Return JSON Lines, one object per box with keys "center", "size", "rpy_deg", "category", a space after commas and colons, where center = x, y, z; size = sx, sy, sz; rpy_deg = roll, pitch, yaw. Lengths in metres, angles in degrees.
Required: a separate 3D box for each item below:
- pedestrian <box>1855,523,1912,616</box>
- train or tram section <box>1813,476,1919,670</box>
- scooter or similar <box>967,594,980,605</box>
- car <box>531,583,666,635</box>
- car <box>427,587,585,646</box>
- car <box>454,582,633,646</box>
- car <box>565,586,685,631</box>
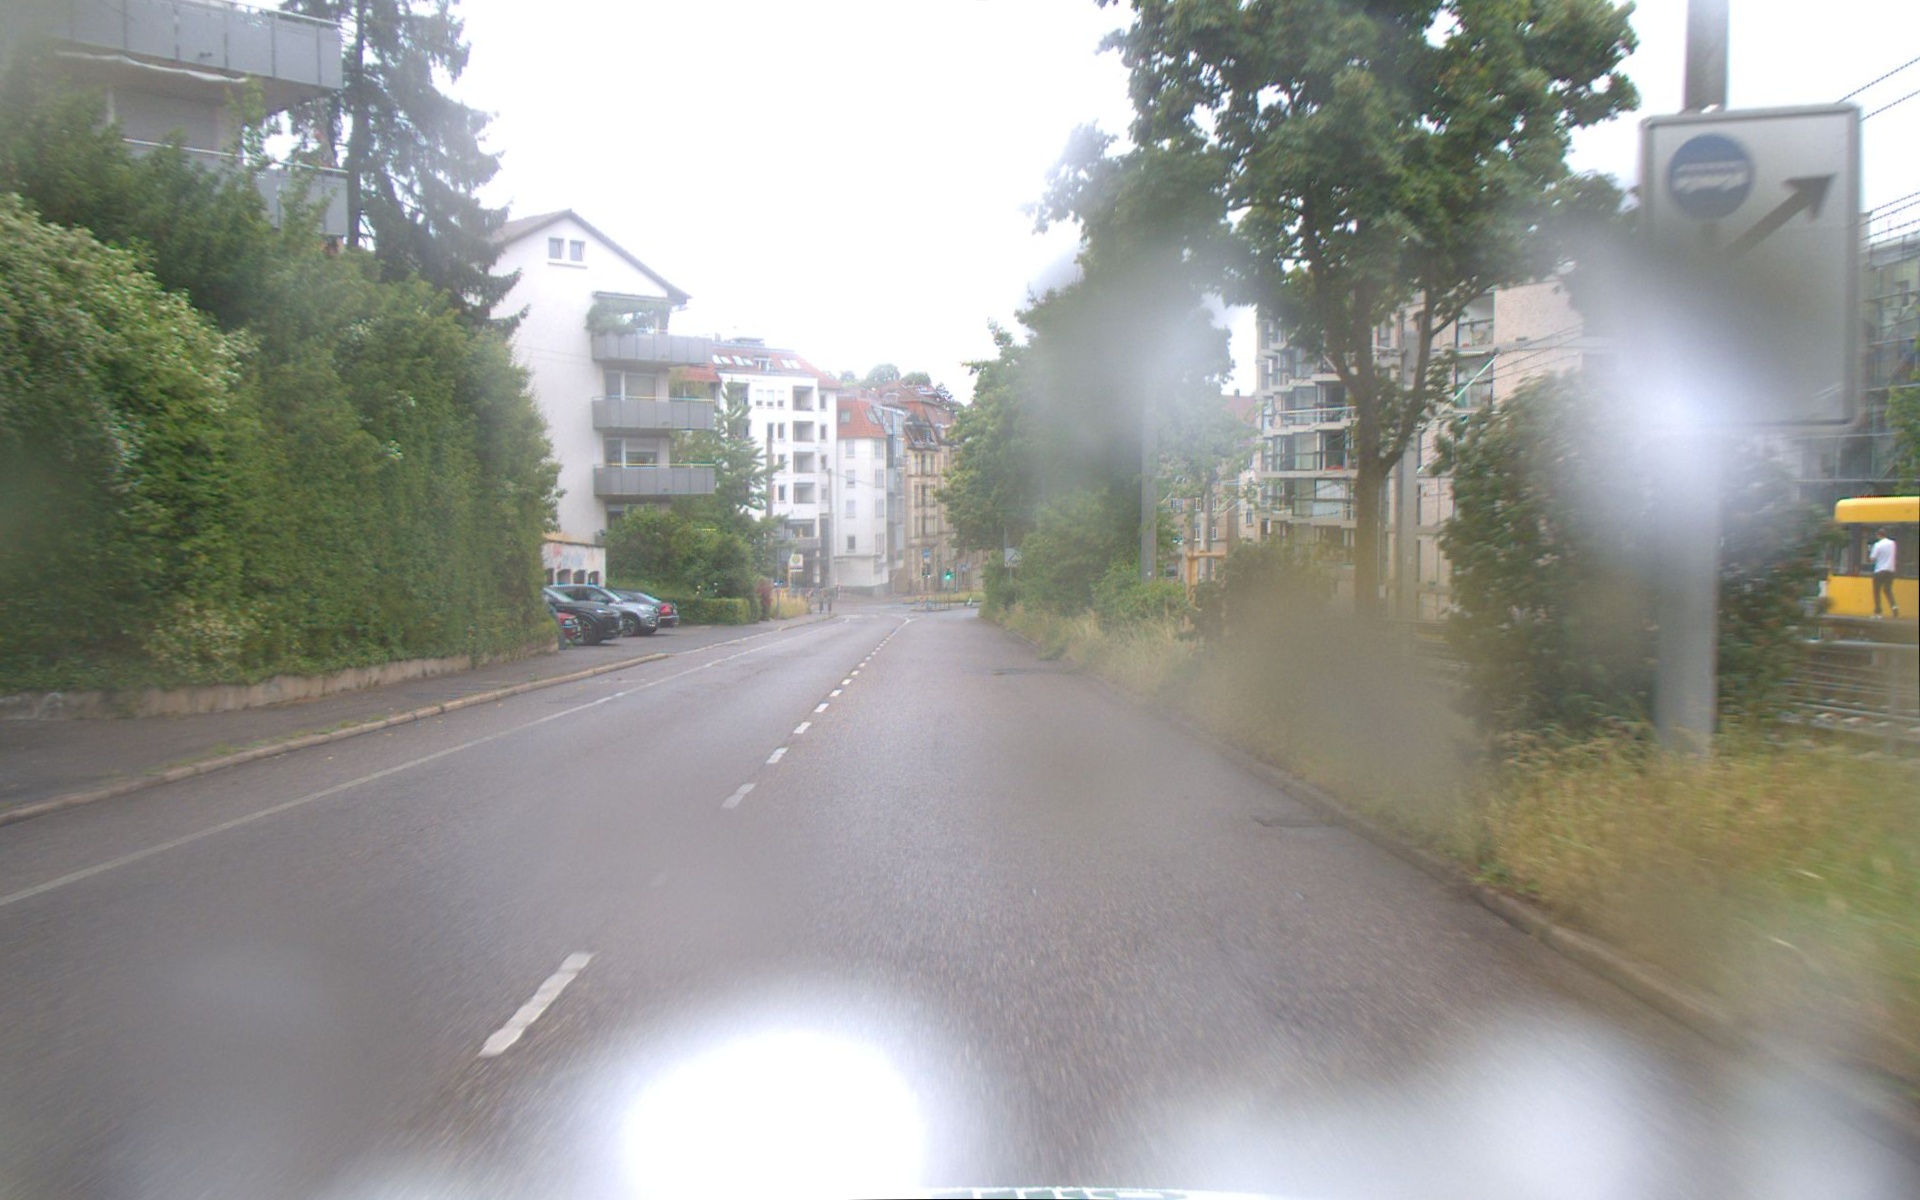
{"center": [19.293, -0.632, 34.579], "size": [0.707, 1.913, 0.817], "rpy_deg": [0, -1, -1], "category": "pedestrian"}
{"center": [21.530, -0.499, 28.889], "size": [3.263, 4.016, 18.809], "rpy_deg": [0, 1, -1], "category": "train or tram section"}
{"center": [1.028, -0.041, 128.741], "size": [0.475, 0.775, 1.328], "rpy_deg": [0, 0, 27], "category": "scooter or similar"}
{"center": [-11.361, 0.293, 52.166], "size": [3.909, 1.587, 1.878], "rpy_deg": [0, 0, -5], "category": "car"}
{"center": [-11.262, 0.416, 41.195], "size": [3.562, 1.430, 1.714], "rpy_deg": [0, 0, -8], "category": "car"}
{"center": [-11.081, 0.352, 44.216], "size": [4.359, 1.630, 1.814], "rpy_deg": [0, 1, -2], "category": "car"}
{"center": [-11.009, 0.290, 54.487], "size": [3.556, 1.432, 1.784], "rpy_deg": [0, 0, 1], "category": "car"}
